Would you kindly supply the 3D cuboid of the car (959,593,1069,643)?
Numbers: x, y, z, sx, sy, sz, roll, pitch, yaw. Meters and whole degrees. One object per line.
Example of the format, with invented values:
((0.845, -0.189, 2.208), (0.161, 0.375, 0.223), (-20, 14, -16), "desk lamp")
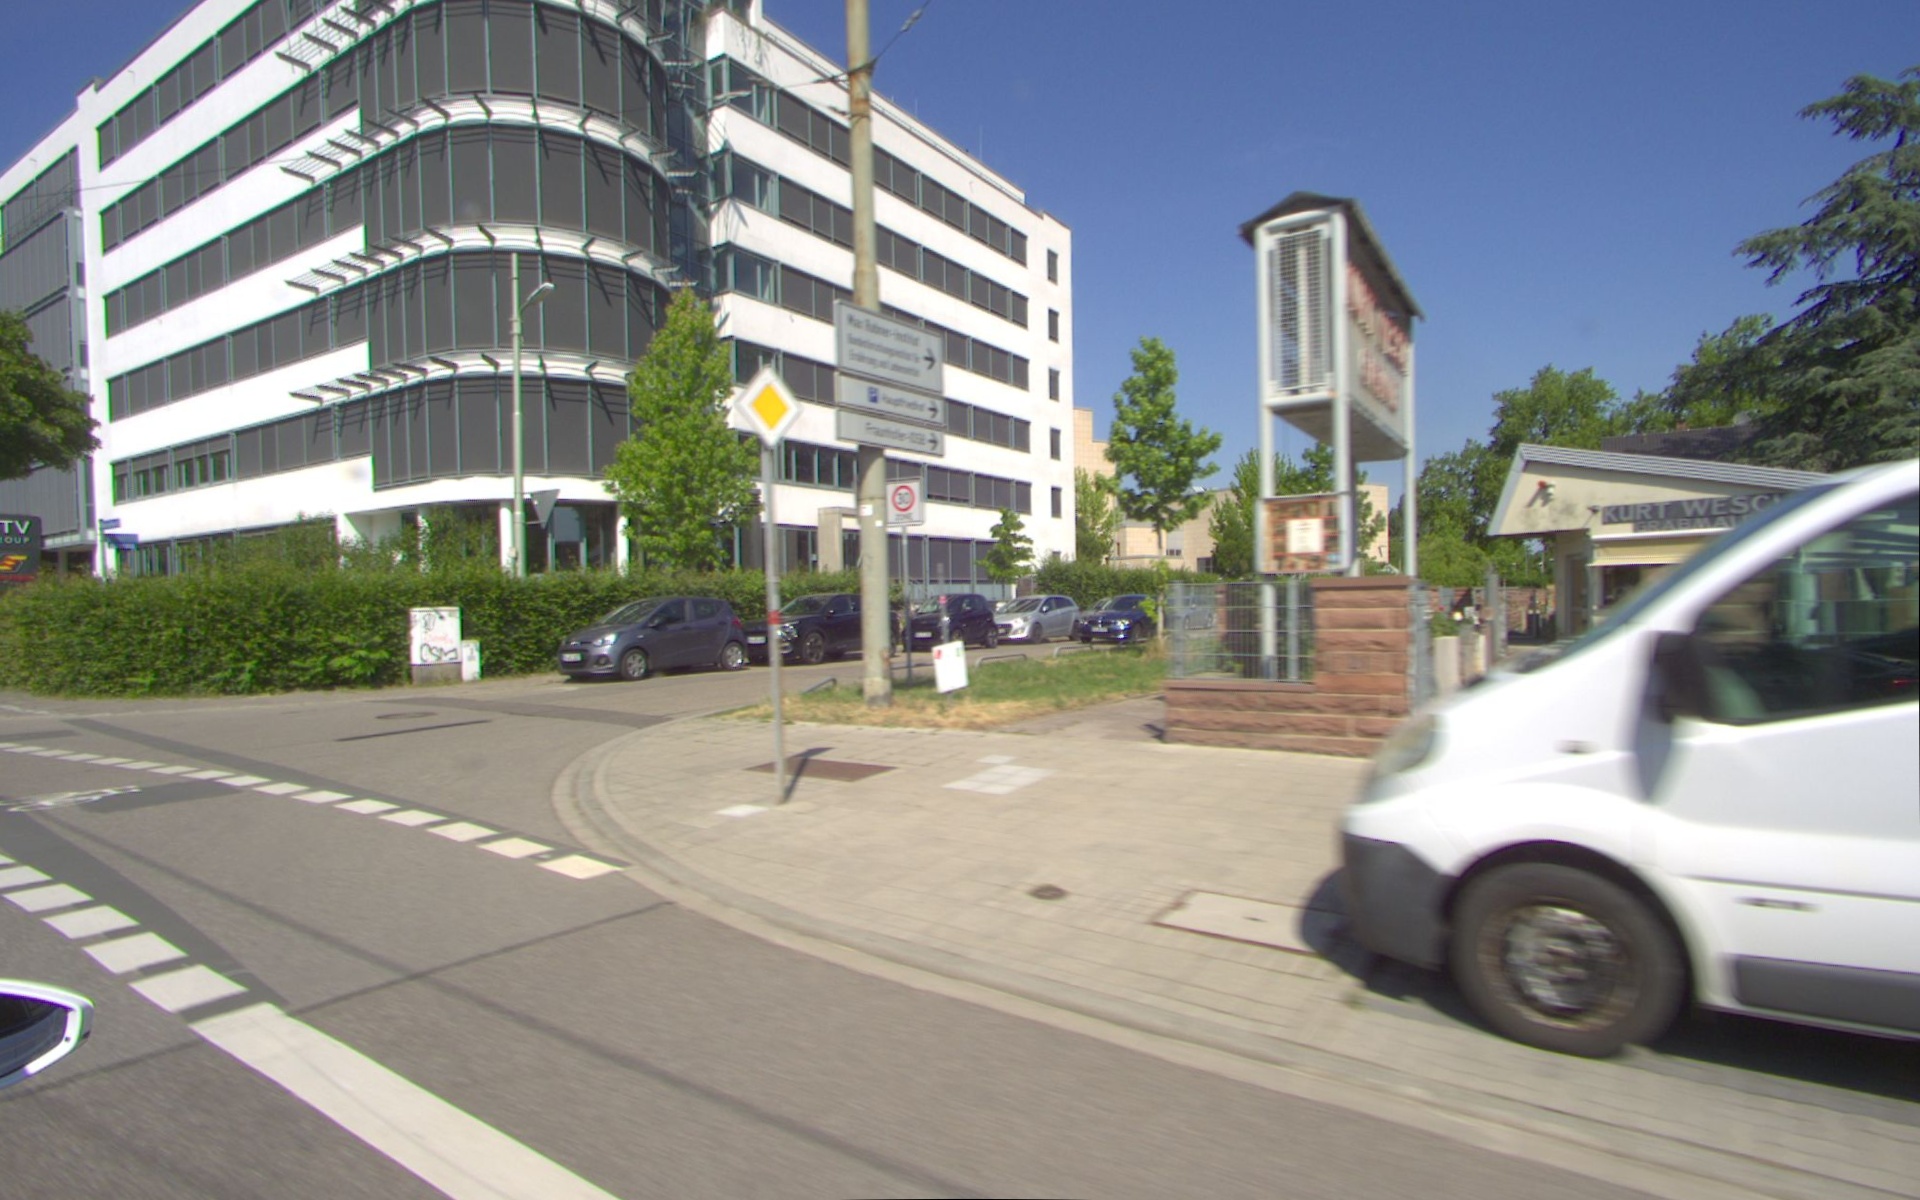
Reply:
((1.756, 0.522, 31.383), (1.635, 1.445, 3.976), (-1, 0, 34), "car")

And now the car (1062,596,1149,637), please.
((5.457, 0.583, 37.174), (1.635, 1.445, 3.976), (-1, 0, 34), "car")

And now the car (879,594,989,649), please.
((-0.677, 0.556, 27.431), (1.635, 1.429, 2.897), (-1, 0, 34), "car")

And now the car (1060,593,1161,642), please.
((4.686, 0.498, 30.829), (1.648, 1.406, 3.735), (-1, 0, 34), "car")

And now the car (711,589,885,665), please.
((-3.586, 0.558, 22.776), (1.635, 1.568, 3.976), (-1, 0, 34), "car")

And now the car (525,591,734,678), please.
((-6.213, 0.596, 19.142), (1.570, 1.492, 3.583), (-1, 0, 34), "car")

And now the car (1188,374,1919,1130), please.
((3.561, 0.388, 3.289), (5.120, 2.083, 1.970), (0, 3, 35), "car")
